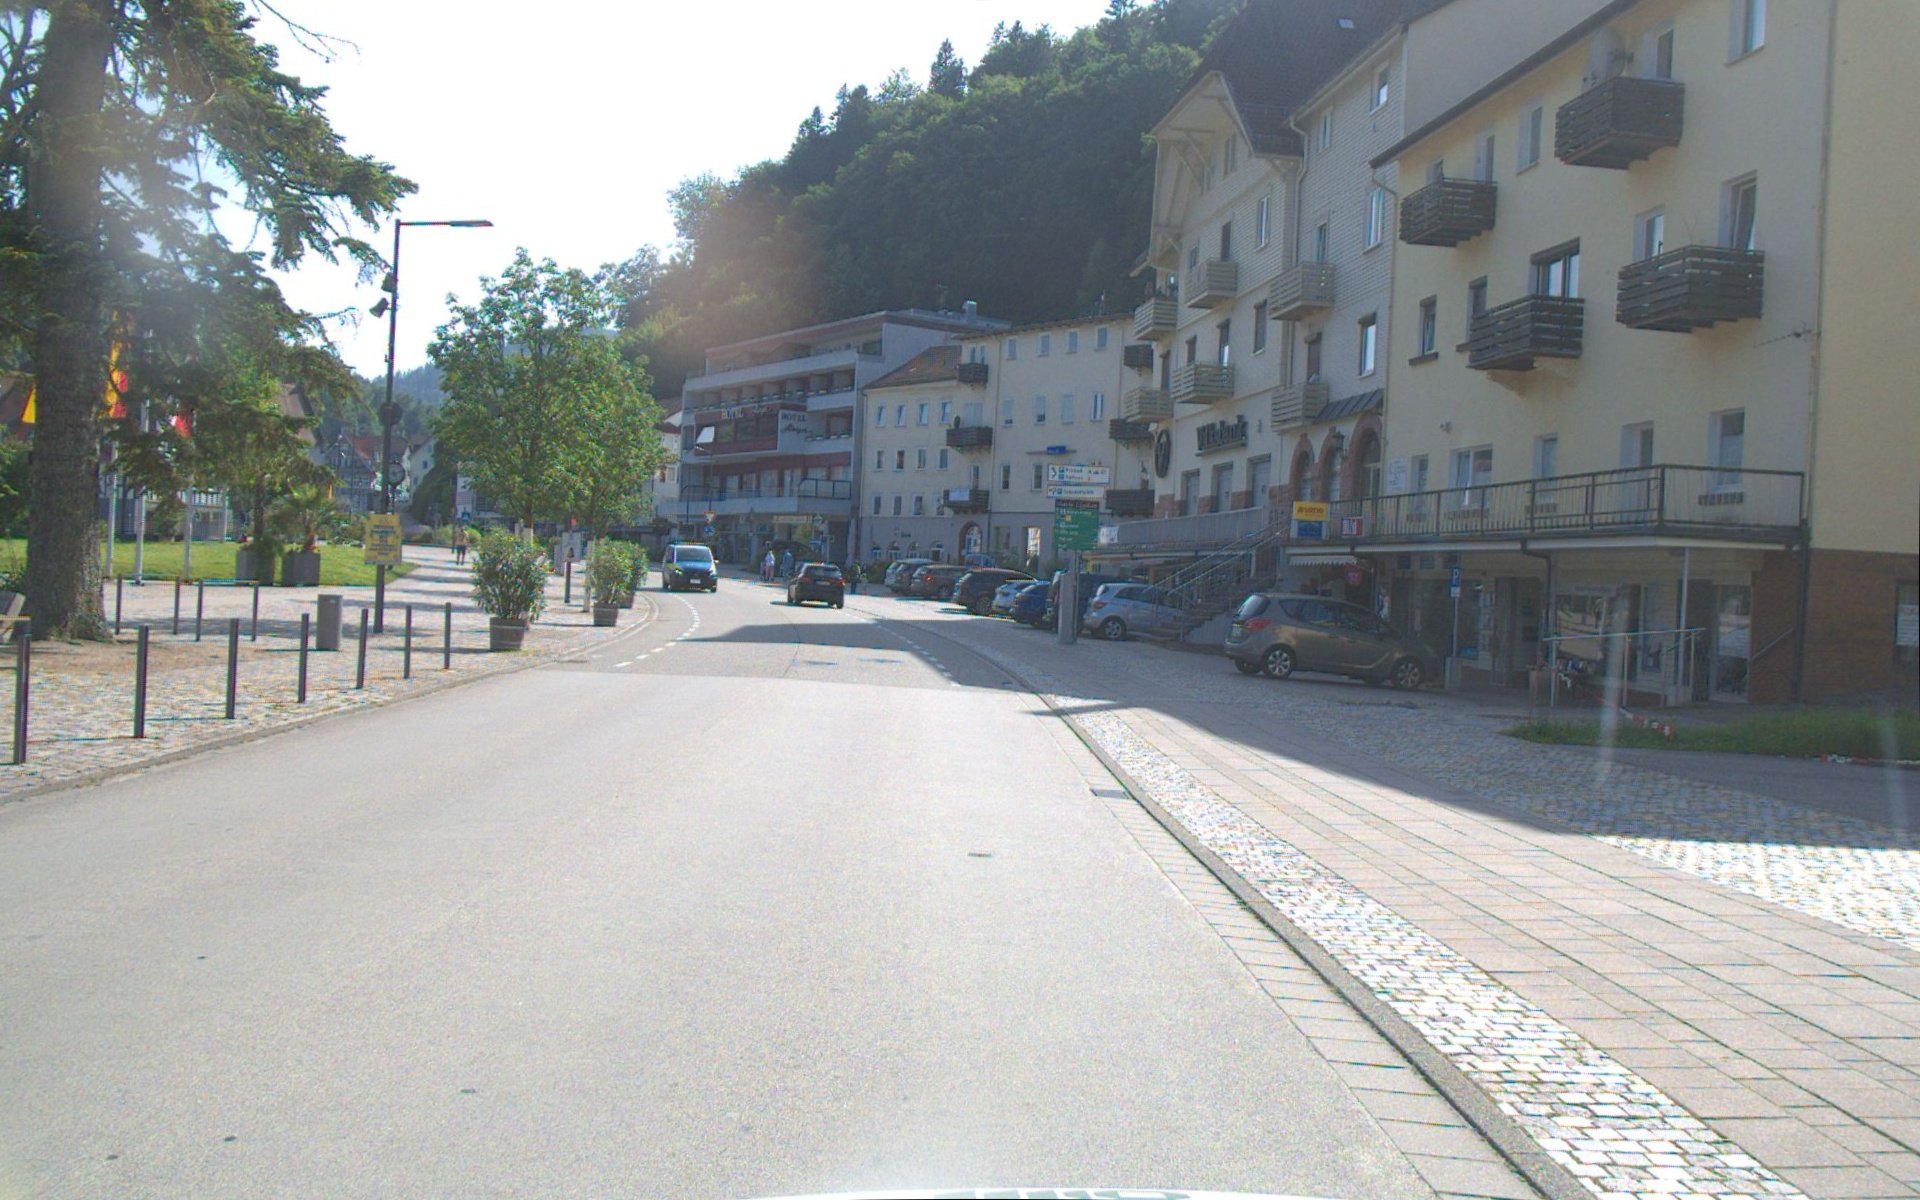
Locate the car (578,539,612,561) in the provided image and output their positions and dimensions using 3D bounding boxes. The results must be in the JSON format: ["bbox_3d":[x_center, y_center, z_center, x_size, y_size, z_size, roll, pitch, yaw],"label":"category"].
[{"bbox_3d":[-31.062,-4.241,140.727,1.659,1.648,3.960,3,1,-30],"label":"car"}]

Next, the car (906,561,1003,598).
[{"bbox_3d":[-0.244,-0.916,73.812,3.961,1.542,1.758,-1,4,-27],"label":"car"}]

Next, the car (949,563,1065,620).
[{"bbox_3d":[1.743,-0.327,62.104,4.007,1.694,1.770,6,1,-6],"label":"car"}]

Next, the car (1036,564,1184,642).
[{"bbox_3d":[4.327,0.068,48.055,3.836,1.835,1.855,6,0,-6],"label":"car"}]

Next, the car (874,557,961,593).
[{"bbox_3d":[-2.039,-1.218,79.943,3.815,1.640,1.758,-1,3,-27],"label":"car"}]

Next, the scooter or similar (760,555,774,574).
[{"bbox_3d":[-10.625,-1.960,90.940,0.589,0.967,0.470,3,1,-29],"label":"scooter or similar"}]

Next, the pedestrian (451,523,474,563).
[{"bbox_3d":[-23.634,-2.694,78.548,0.857,1.846,0.685,3,1,-28],"label":"pedestrian"}]

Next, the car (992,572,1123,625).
[{"bbox_3d":[3.362,-0.046,57.317,4.271,1.486,1.771,4,-1,-4],"label":"car"}]

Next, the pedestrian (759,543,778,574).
[{"bbox_3d":[-10.517,-2.275,90.778,0.749,1.621,0.622,3,1,-29],"label":"pedestrian"}]

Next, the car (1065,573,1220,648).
[{"bbox_3d":[4.965,0.273,45.375,3.836,1.616,1.773,5,1,-6],"label":"car"}]

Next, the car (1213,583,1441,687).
[{"bbox_3d":[6.992,0.654,31.681,3.789,1.581,1.757,5,1,-9],"label":"car"}]

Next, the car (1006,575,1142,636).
[{"bbox_3d":[3.464,0.163,50.823,3.835,1.485,1.734,5,1,-6],"label":"car"}]

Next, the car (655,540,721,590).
[{"bbox_3d":[-11.410,-1.475,69.150,1.827,1.987,4.988,1,1,-20],"label":"car"}]

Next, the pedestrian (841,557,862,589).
[{"bbox_3d":[-5.068,-1.242,77.191,0.729,1.467,0.625,0,2,-37],"label":"pedestrian"}]

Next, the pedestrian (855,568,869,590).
[{"bbox_3d":[-4.583,-0.996,77.446,0.414,1.019,0.524,0,2,-38],"label":"pedestrian"}]

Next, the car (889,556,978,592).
[{"bbox_3d":[-1.229,-1.215,77.148,3.815,1.576,1.758,-1,4,-27],"label":"car"}]

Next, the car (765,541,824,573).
[{"bbox_3d":[-9.925,-2.580,99.445,3.126,1.691,1.581,3,1,-27],"label":"car"}]

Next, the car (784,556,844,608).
[{"bbox_3d":[-5.357,-0.684,60.459,1.697,1.601,3.743,3,3,-12],"label":"car"}]

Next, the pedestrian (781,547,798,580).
[{"bbox_3d":[-9.364,-2.016,90.746,0.661,1.758,0.701,3,1,-29],"label":"pedestrian"}]
